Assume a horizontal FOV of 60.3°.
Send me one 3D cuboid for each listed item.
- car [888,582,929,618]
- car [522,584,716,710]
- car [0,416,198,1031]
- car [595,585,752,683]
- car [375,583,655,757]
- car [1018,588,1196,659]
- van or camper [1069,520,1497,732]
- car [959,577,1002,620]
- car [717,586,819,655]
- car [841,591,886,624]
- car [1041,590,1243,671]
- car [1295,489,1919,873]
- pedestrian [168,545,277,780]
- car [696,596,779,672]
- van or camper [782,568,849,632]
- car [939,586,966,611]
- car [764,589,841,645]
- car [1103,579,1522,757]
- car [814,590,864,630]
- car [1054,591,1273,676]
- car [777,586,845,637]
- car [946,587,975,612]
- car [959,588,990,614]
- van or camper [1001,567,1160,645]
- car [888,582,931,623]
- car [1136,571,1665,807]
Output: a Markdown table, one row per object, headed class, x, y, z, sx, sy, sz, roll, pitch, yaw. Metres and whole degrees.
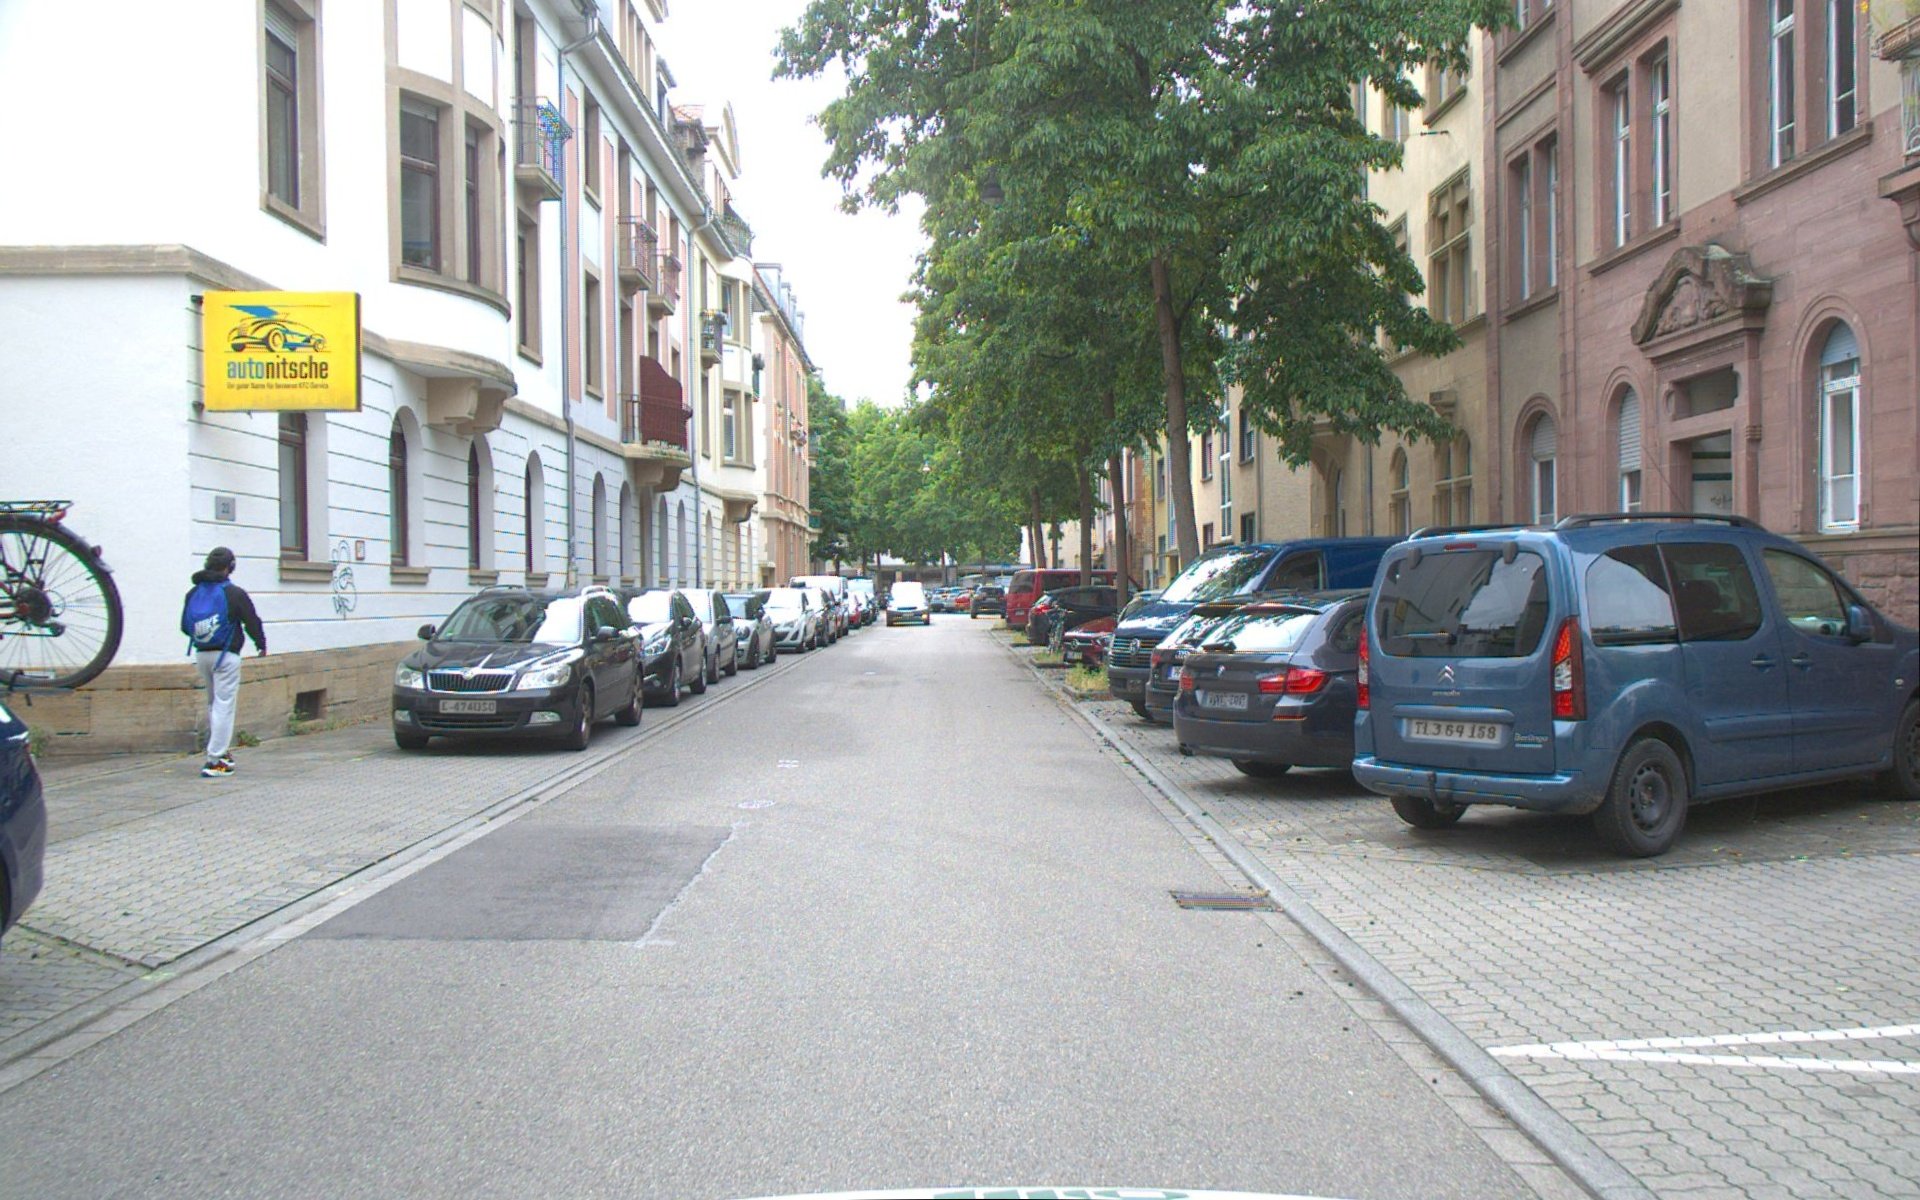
| class | x | y | z | sx | sy | sz | roll | pitch | yaw |
| --- | --- | --- | --- | --- | --- | --- | --- | --- | --- |
| car | -2.557 | 0.000 | 82.802 | 1.868 | 1.707 | 4.000 | 1 | 0 | 1 |
| car | -4.369 | 0.552 | 21.737 | 1.792 | 1.451 | 3.800 | 2 | 0 | -1 |
| car | -4.159 | 0.404 | 4.448 | 1.953 | 2.049 | 4.890 | 1 | 0 | -1 |
| car | -4.582 | 0.498 | 27.016 | 1.908 | 1.427 | 3.999 | 2 | 0 | -1 |
| car | -4.226 | 0.596 | 16.338 | 1.753 | 1.506 | 4.021 | 0 | 0 | -1 |
| car | 3.261 | 0.505 | 37.028 | 3.688 | 1.490 | 1.727 | 1 | 0 | -6 |
| van or camper | 3.775 | 0.281 | 19.074 | 4.728 | 2.175 | 2.033 | 1 | 0 | -32 |
| car | 1.003 | -0.102 | 83.542 | 1.953 | 2.049 | 3.999 | 2 | 0 | -1 |
| car | -4.469 | 0.454 | 39.098 | 1.953 | 1.501 | 4.000 | 1 | 0 | -1 |
| car | -4.255 | 0.311 | 73.323 | 1.749 | 1.398 | 3.887 | 1 | 0 | -1 |
| car | 3.571 | 0.585 | 32.833 | 3.688 | 1.490 | 1.727 | 1 | 0 | -6 |
| car | 4.349 | 0.359 | 10.310 | 4.129 | 1.902 | 1.979 | -3 | 0 | -31 |
| pedestrian | -5.712 | 0.471 | 12.830 | 0.534 | 1.770 | 0.655 | 1 | 0 | -3 |
| car | -4.214 | 0.609 | 31.617 | 1.185 | 1.332 | 3.260 | 1 | 0 | -1 |
| van or camper | -4.729 | -0.015 | 54.785 | 1.843 | 2.002 | 4.407 | 1 | 0 | -1 |
| car | -0.544 | -0.113 | 116.381 | 1.832 | 1.656 | 3.999 | 1 | 0 | -1 |
| car | -4.273 | 0.442 | 45.315 | 1.749 | 1.398 | 3.507 | 2 | 0 | -1 |
| car | 3.470 | 0.582 | 16.177 | 3.820 | 1.525 | 1.784 | -1 | 0 | -30 |
| car | -4.956 | 0.382 | 68.194 | 1.750 | 1.480 | 3.887 | -4 | 1 | -1 |
| car | 3.614 | 0.574 | 29.686 | 3.638 | 1.433 | 1.573 | -1 | 0 | -6 |
| car | -4.516 | 0.327 | 50.504 | 1.749 | 1.470 | 3.887 | 1 | 0 | -1 |
| car | 0.044 | -0.045 | 110.986 | 1.832 | 1.557 | 3.999 | 1 | 0 | -1 |
| car | 0.898 | 0.048 | 106.267 | 1.832 | 1.557 | 3.839 | 1 | 0 | -1 |
| van or camper | 3.400 | 0.172 | 46.675 | 4.100 | 2.122 | 1.934 | 1 | 0 | -29 |
| car | -2.167 | 0.101 | 71.593 | 1.784 | 1.673 | 3.753 | 1 | 0 | -1 |
| car | 3.540 | 0.587 | 13.127 | 3.971 | 1.586 | 1.864 | -1 | 0 | -32 |
